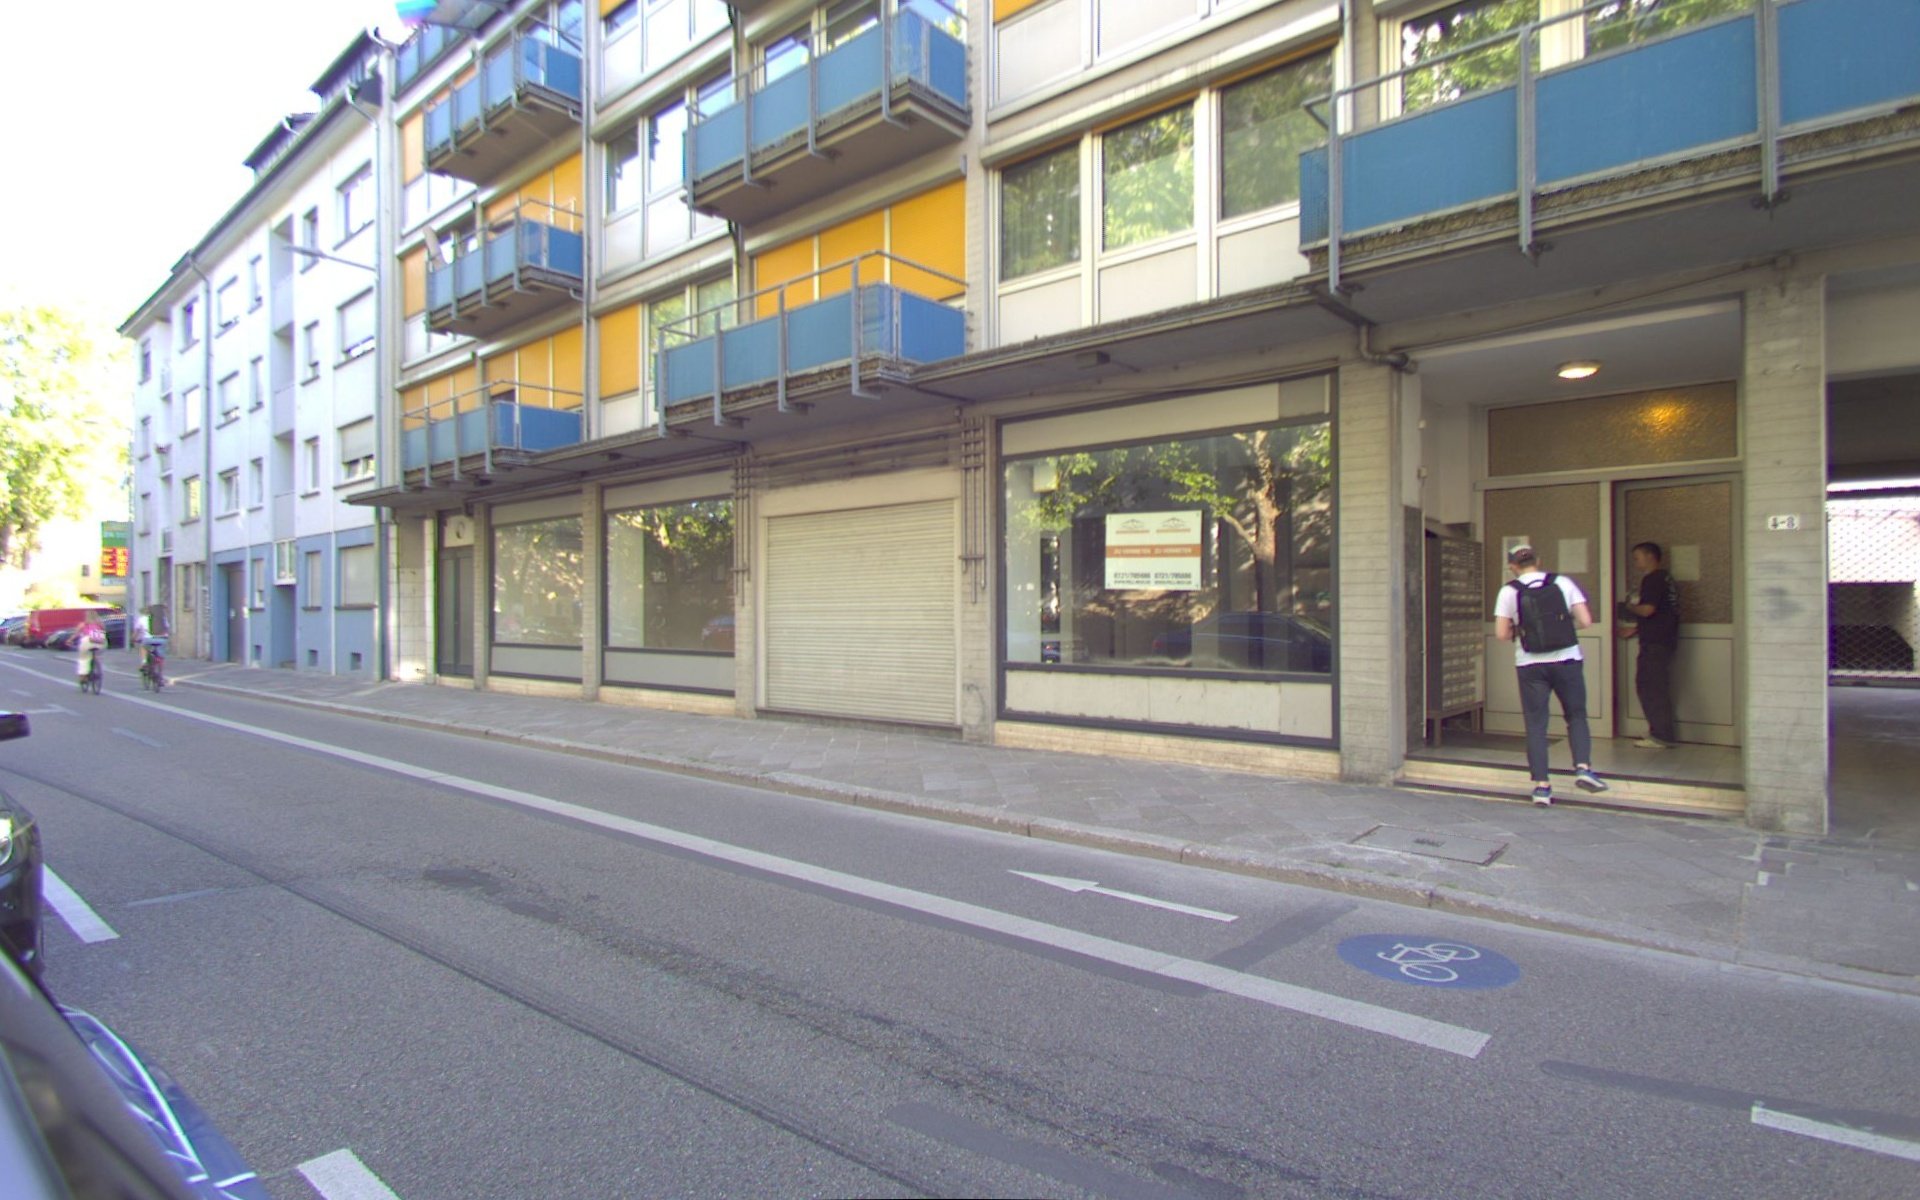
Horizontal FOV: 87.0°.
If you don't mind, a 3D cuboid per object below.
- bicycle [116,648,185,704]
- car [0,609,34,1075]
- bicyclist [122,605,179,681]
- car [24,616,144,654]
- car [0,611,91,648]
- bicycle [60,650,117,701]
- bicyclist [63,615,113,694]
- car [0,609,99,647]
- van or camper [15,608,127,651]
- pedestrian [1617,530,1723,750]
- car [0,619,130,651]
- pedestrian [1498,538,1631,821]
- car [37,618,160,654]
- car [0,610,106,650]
[{"bbox_3d":[-17.272,1.599,21.579,1.835,1.087,0.854,-1,-1,41],"label":"bicycle"},{"bbox_3d":[-4.998,0.797,3.843,3.861,1.467,1.718,-1,-1,40],"label":"car"},{"bbox_3d":[-17.231,0.904,21.538,0.839,1.566,0.833,-1,-1,42],"label":"bicyclist"},{"bbox_3d":[-41.626,1.618,48.155,1.999,1.703,4.093,-1,-1,41],"label":"car"},{"bbox_3d":[-57.388,1.820,62.848,1.999,2.210,4.927,-1,-1,41],"label":"car"},{"bbox_3d":[-18.070,1.542,20.966,1.863,0.936,0.686,-1,-1,43],"label":"bicycle"},{"bbox_3d":[-18.047,1.103,20.936,0.982,1.590,0.677,-1,-1,42],"label":"bicyclist"},{"bbox_3d":[-55.395,1.670,61.139,1.999,2.210,4.927,-1,-1,41],"label":"car"},{"bbox_3d":[-43.882,1.429,49.997,1.999,2.029,3.946,-1,-1,40],"label":"van or camper"},{"bbox_3d":[5.858,0.316,8.353,0.651,1.726,0.549,0,-1,-41],"label":"pedestrian"},{"bbox_3d":[-45.714,1.749,51.689,1.999,1.506,4.927,-1,-1,41],"label":"car"},{"bbox_3d":[4.195,0.505,7.007,0.601,1.813,0.867,-1,0,42],"label":"pedestrian"},{"bbox_3d":[-39.745,1.630,46.771,1.999,1.506,4.093,-1,-1,41],"label":"car"},{"bbox_3d":[-53.308,1.735,59.188,1.999,2.210,4.927,-1,-1,41],"label":"car"}]
